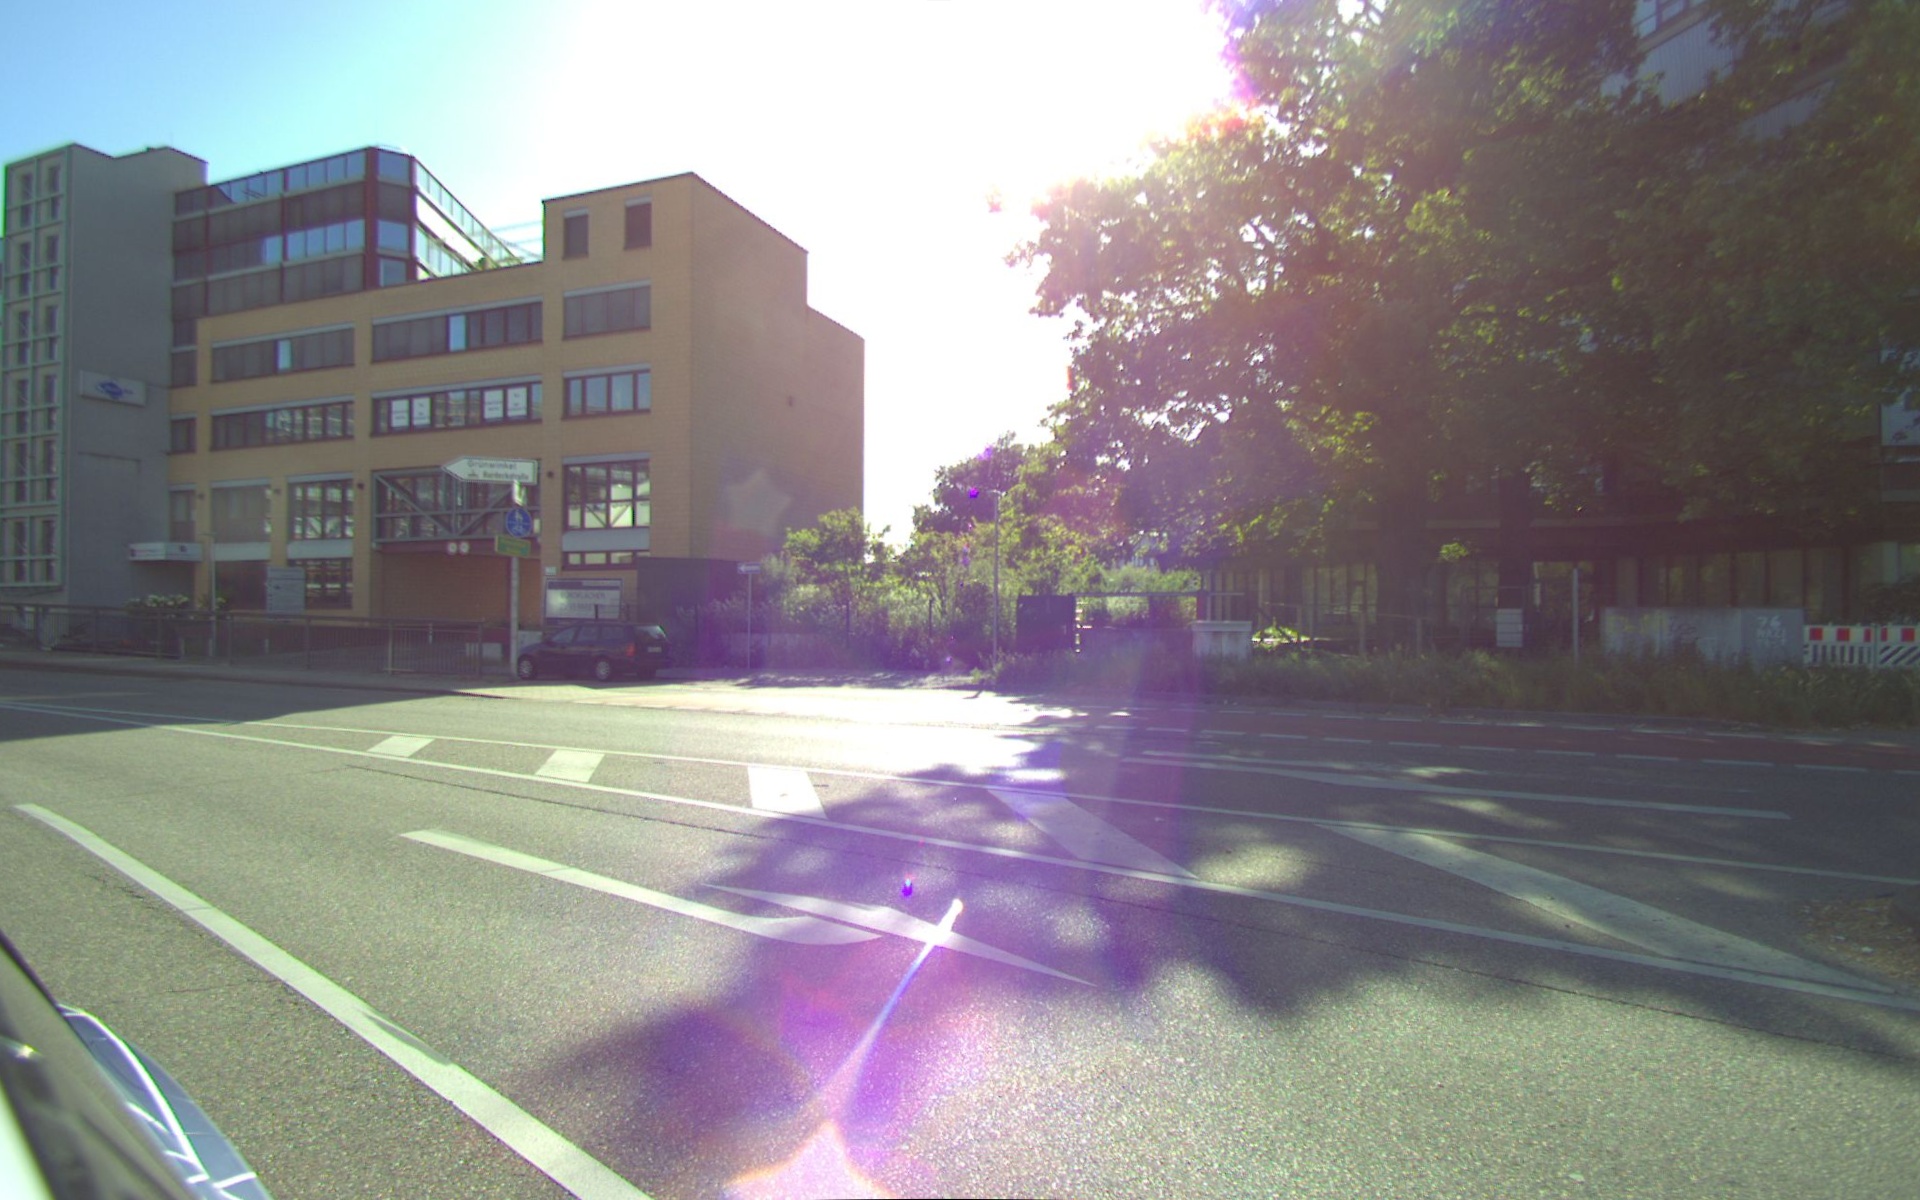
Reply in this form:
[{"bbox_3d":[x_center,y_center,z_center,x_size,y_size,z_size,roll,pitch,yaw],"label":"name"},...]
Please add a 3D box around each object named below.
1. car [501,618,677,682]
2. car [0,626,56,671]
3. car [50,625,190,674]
[{"bbox_3d":[-9.481,1.306,25.861,4.354,1.520,1.645,-2,-4,25],"label":"car"},{"bbox_3d":[-35.031,1.735,36.528,4.130,1.535,1.868,-1,-1,21],"label":"car"},{"bbox_3d":[-27.689,1.607,33.372,4.126,1.535,1.629,-1,-1,18],"label":"car"}]
